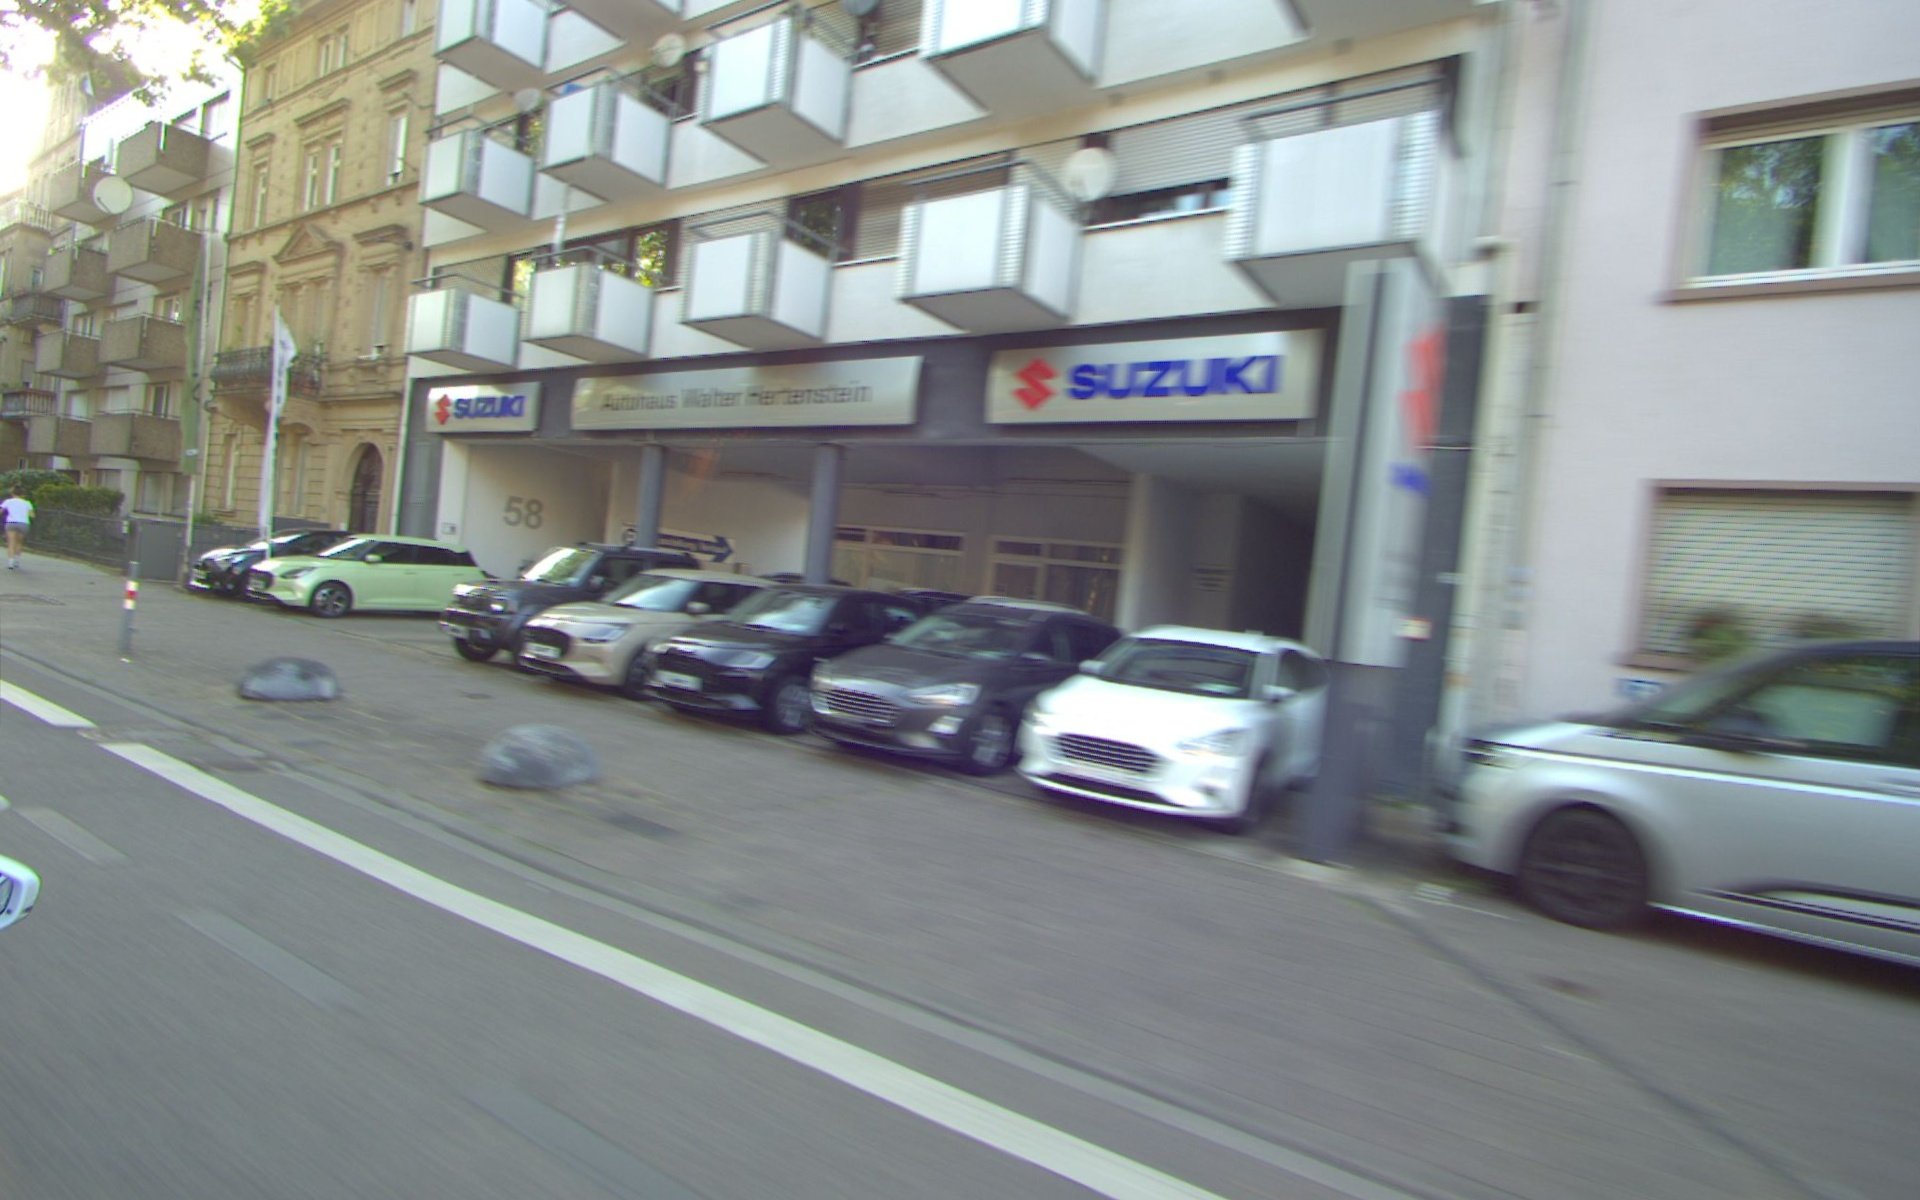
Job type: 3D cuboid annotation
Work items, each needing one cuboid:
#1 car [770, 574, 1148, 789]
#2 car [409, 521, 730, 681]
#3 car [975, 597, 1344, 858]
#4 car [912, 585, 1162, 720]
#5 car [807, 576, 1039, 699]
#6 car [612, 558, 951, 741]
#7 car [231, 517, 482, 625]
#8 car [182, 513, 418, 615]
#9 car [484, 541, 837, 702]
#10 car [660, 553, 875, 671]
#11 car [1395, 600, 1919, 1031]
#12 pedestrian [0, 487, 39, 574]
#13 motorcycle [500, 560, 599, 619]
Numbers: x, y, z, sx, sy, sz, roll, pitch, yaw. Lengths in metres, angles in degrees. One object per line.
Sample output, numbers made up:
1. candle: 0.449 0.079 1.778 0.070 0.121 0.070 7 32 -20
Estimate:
1. car: 0.197 0.755 9.961 1.780 1.533 3.871 7 0 33
2. car: -5.135 0.088 13.596 1.656 1.741 3.579 8 1 37
3. car: 1.946 0.964 8.749 1.881 1.519 3.817 8 0 30
4. car: 1.090 0.756 14.981 3.293 1.583 1.501 6 1 -12
5. car: -0.658 0.596 16.535 3.468 1.583 1.606 6 1 -12
6. car: -1.785 0.539 11.008 1.712 1.544 3.422 7 0 31
7. car: -10.821 -0.484 18.203 1.731 1.537 3.417 6 -1 37
8. car: -12.557 -0.639 19.326 1.419 1.565 3.421 6 -1 32
9. car: -3.529 0.325 12.485 1.829 1.560 3.821 7 0 33
10. car: -3.468 0.211 18.289 3.541 1.677 1.614 6 1 -12
11. car: 5.379 1.226 5.783 4.828 1.972 1.891 5 0 38
12. pedestrian: -18.915 -1.390 19.968 0.908 1.649 0.663 6 0 35
13. motorcycle: -9.343 -0.217 22.950 0.728 1.136 1.930 7 0 34
